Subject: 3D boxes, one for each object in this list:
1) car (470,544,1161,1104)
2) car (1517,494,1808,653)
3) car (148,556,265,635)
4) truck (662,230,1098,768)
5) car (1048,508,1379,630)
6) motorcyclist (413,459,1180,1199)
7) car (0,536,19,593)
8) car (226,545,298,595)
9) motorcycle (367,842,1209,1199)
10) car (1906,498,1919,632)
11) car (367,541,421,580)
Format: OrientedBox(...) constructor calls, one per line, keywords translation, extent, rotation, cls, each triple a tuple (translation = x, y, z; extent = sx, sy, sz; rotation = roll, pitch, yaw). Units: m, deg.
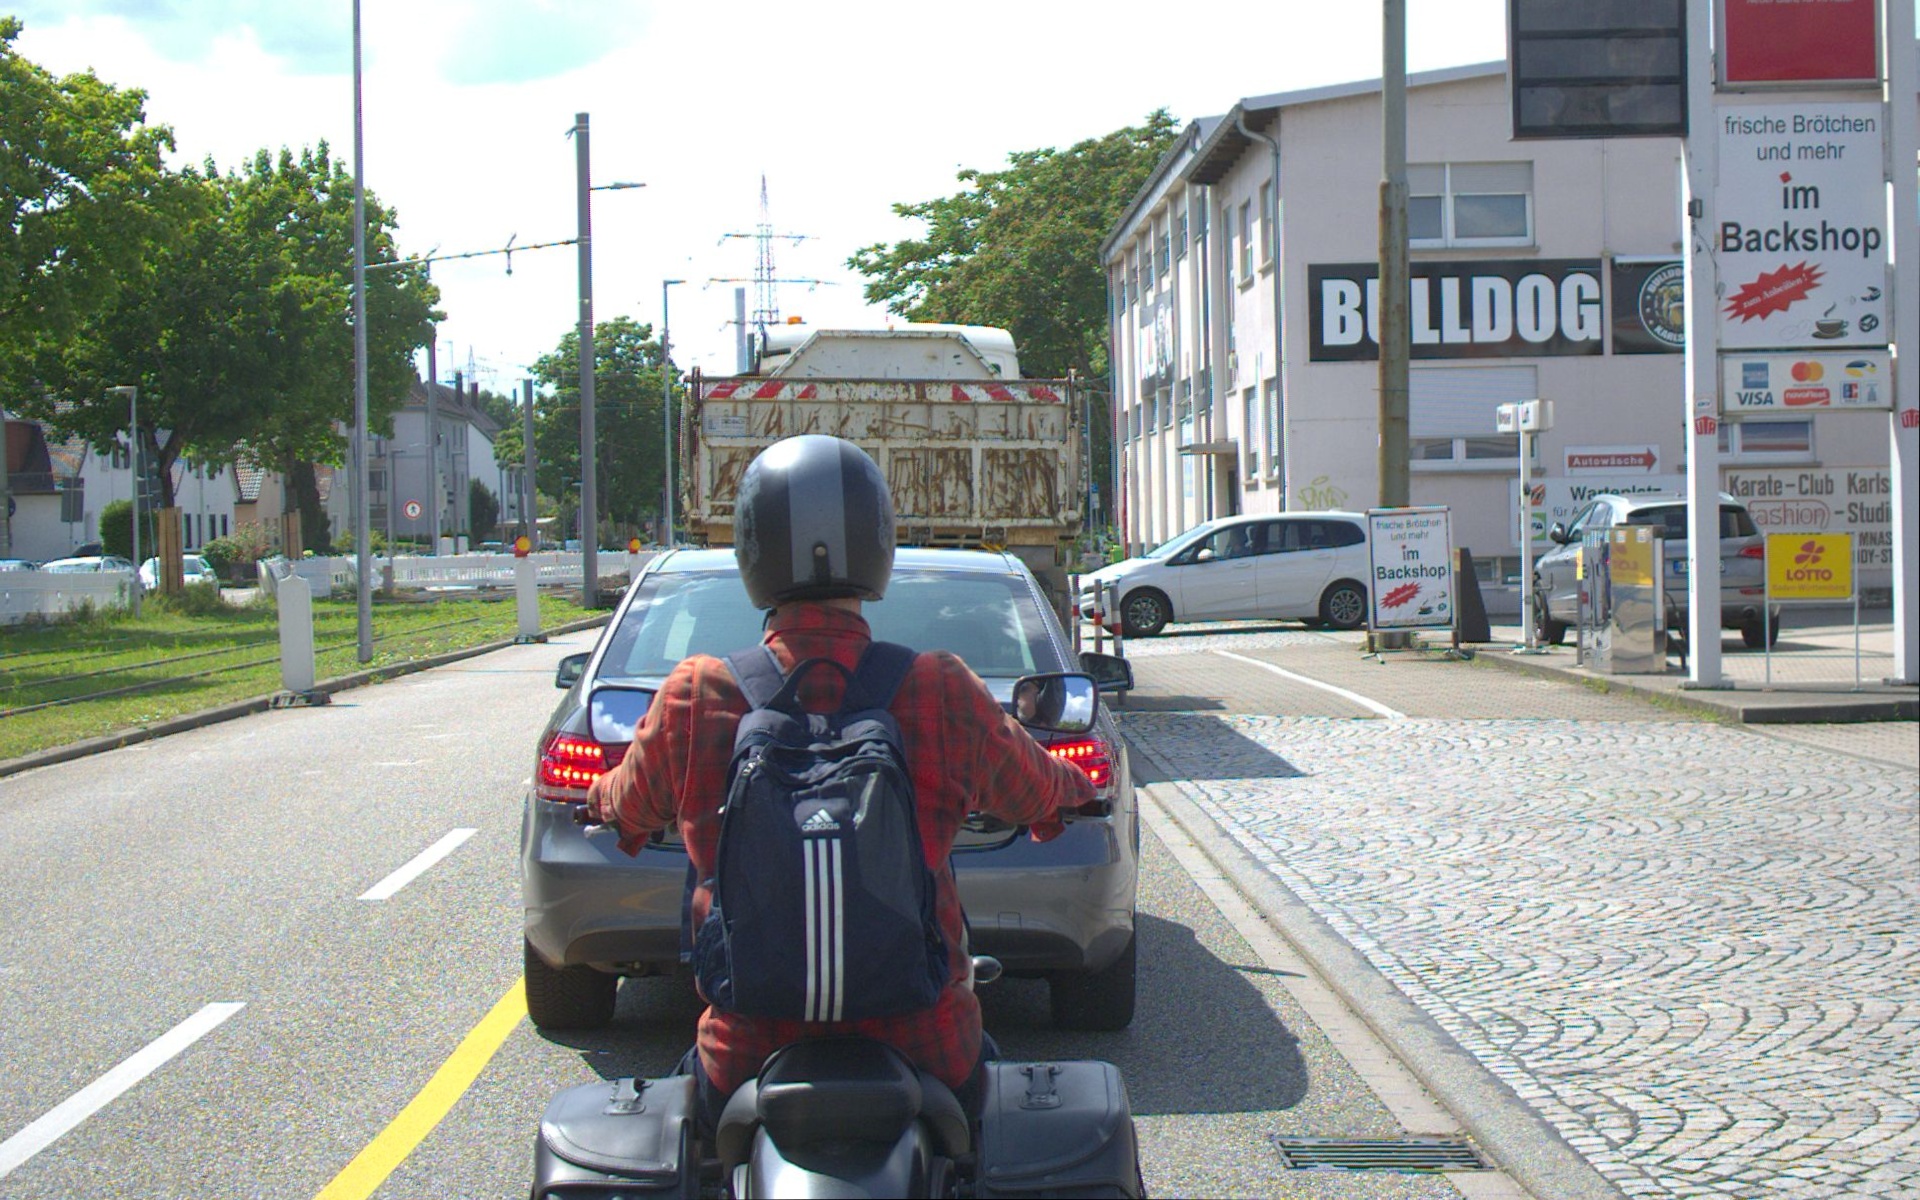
OrientedBox(translation=(-0.409, 0.567, 11.184), extent=(1.823, 1.447, 4.000), rotation=(1, 1, -1), cls="car")
OrientedBox(translation=(7.384, -0.307, 36.526), extent=(1.667, 1.557, 4.245), rotation=(-1, 1, -8), cls="car")
OrientedBox(translation=(-17.492, -0.129, 79.965), extent=(1.776, 1.717, 4.128), rotation=(-1, 1, 0), cls="car")
OrientedBox(translation=(-0.538, -0.715, 25.368), extent=(2.638, 3.285, 8.057), rotation=(-1, 1, -1), cls="truck")
OrientedBox(translation=(3.447, -0.435, 47.044), extent=(4.229, 1.537, 1.673), rotation=(-1, 1, -8), cls="car")
OrientedBox(translation=(-0.211, 0.613, 5.032), extent=(0.979, 1.597, 1.088), rotation=(-1, 1, -1), cls="motorcyclist")
OrientedBox(translation=(-30.040, -1.059, 104.410), extent=(1.776, 1.717, 4.128), rotation=(-1, 1, 0), cls="car")
OrientedBox(translation=(-25.414, -1.097, 125.246), extent=(1.776, 1.717, 4.128), rotation=(-1, 1, 0), cls="car")
OrientedBox(translation=(-0.207, 0.956, 5.343), extent=(0.979, 0.894, 2.653), rotation=(-1, 1, -1), cls="motorcycle")
OrientedBox(translation=(11.739, -0.382, 37.095), extent=(1.806, 1.498, 3.834), rotation=(-1, 1, -3), cls="car")
OrientedBox(translation=(-26.432, -1.850, 160.665), extent=(1.776, 1.717, 4.250), rotation=(-1, 1, 0), cls="car")
